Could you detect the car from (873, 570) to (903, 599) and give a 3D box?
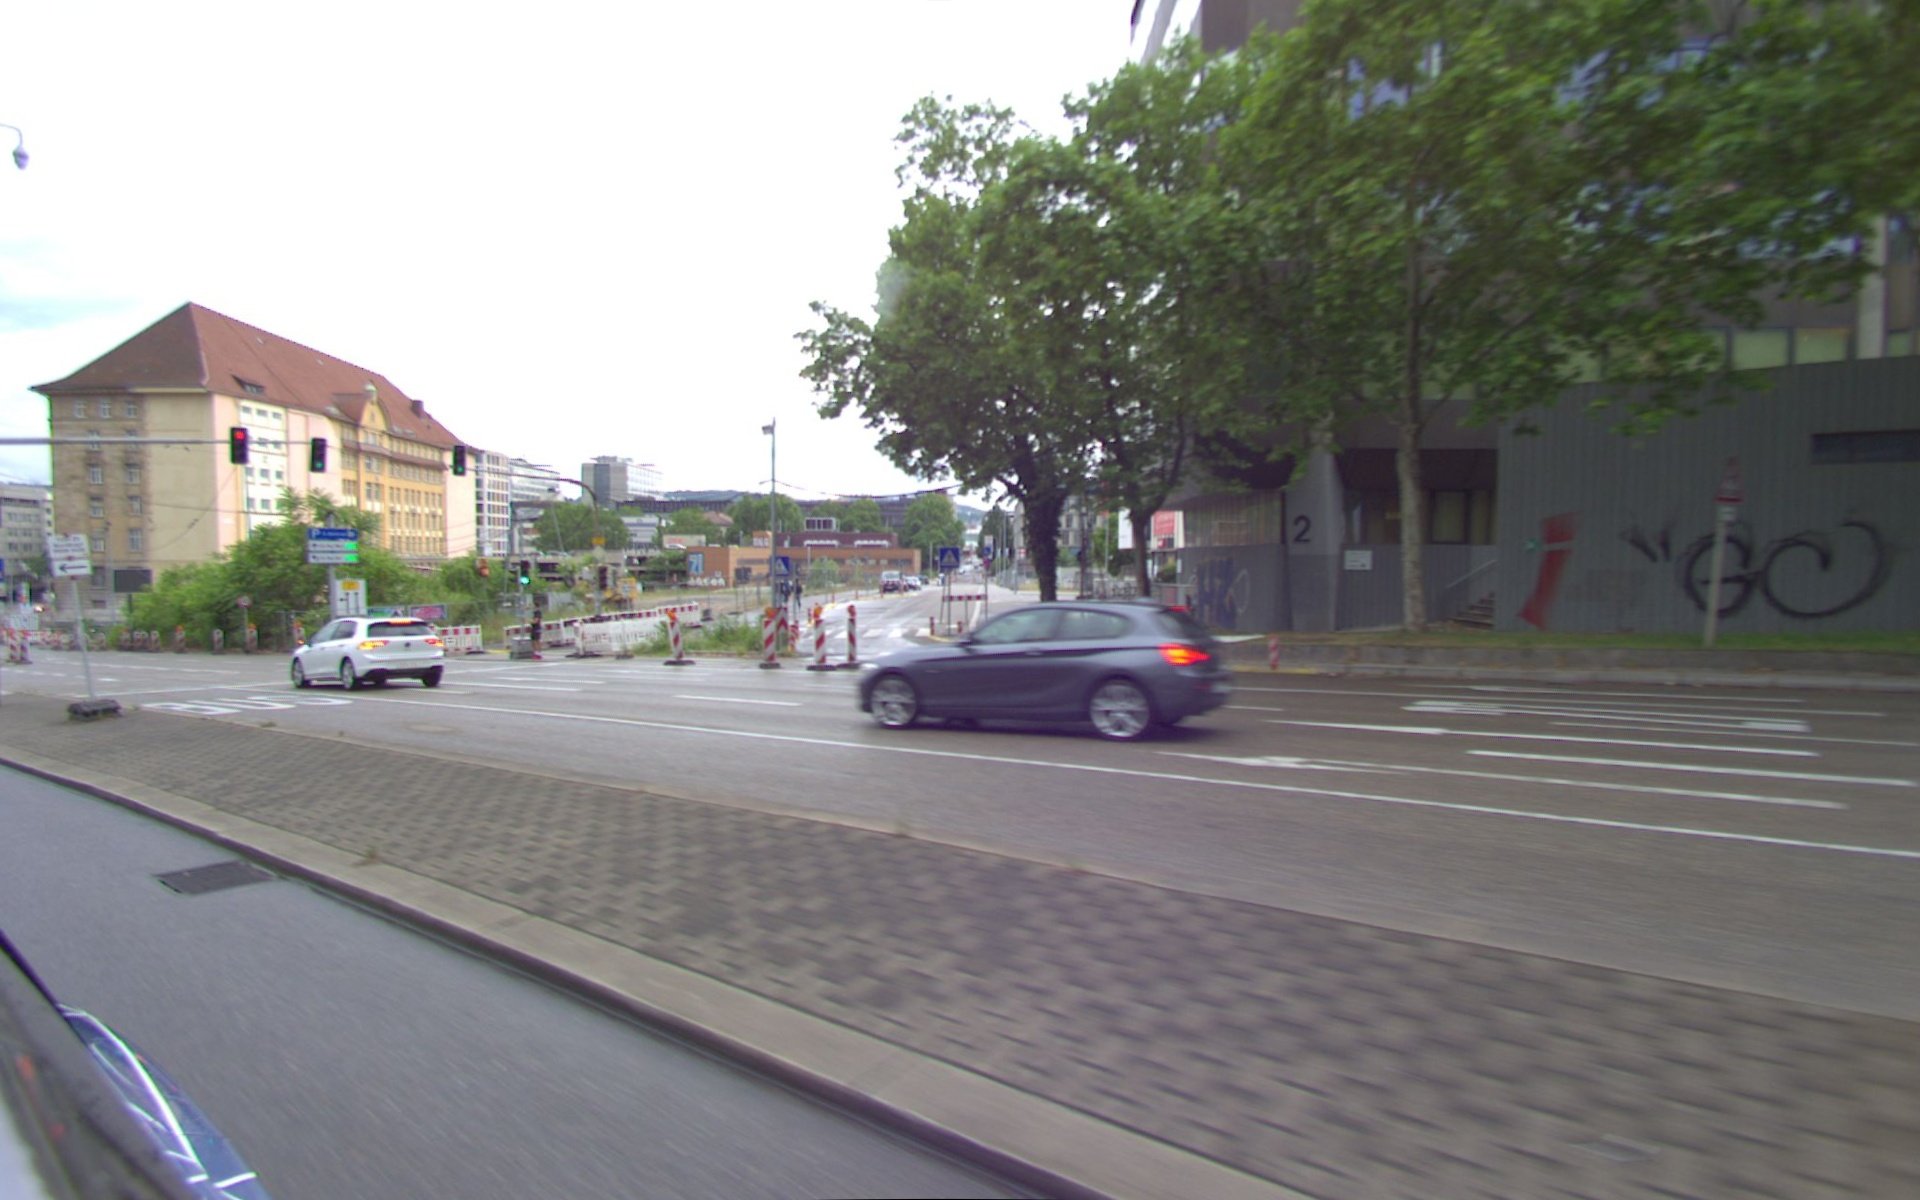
[{"bbox_3d":[-5.094,-1.137,72.010,1.789,1.980,3.998,0,1,2],"label":"car"}]

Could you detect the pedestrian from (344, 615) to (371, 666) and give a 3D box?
[{"bbox_3d":[-23.337,1.556,39.206,0.775,1.915,0.665,1,2,42],"label":"pedestrian"}]

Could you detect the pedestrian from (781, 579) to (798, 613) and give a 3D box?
[{"bbox_3d":[-9.835,-0.232,58.368,0.758,1.867,0.784,-2,0,2],"label":"pedestrian"}]

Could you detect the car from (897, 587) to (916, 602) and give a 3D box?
[{"bbox_3d":[-5.649,-0.602,107.158,1.714,1.537,3.998,0,1,2],"label":"car"}]

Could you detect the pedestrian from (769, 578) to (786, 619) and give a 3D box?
[{"bbox_3d":[-9.788,-0.096,54.291,0.737,2.187,0.701,0,1,3],"label":"pedestrian"}]

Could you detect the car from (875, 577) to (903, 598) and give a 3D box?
[{"bbox_3d":[-6.068,-1.124,86.966,1.973,1.718,3.998,0,1,2],"label":"car"}]

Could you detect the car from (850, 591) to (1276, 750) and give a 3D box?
[{"bbox_3d":[1.077,0.722,11.168,4.321,1.459,1.795,-2,-1,29],"label":"car"}]

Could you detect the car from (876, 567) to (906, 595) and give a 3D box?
[{"bbox_3d":[-5.275,-1.471,77.843,1.973,2.028,3.998,0,1,2],"label":"car"}]

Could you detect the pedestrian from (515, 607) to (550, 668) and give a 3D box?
[{"bbox_3d":[-13.809,1.193,32.708,0.744,1.894,0.735,0,1,29],"label":"pedestrian"}]

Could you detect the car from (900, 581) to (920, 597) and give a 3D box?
[{"bbox_3d":[-5.575,-1.212,113.297,1.864,1.718,4.282,0,1,2],"label":"car"}]

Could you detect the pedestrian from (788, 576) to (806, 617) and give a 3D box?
[{"bbox_3d":[-8.706,-0.201,54.012,0.737,2.156,0.742,-1,1,3],"label":"pedestrian"}]

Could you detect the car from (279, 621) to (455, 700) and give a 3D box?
[{"bbox_3d":[-12.536,1.226,21.295,4.354,1.472,1.744,-2,-2,39],"label":"car"}]
